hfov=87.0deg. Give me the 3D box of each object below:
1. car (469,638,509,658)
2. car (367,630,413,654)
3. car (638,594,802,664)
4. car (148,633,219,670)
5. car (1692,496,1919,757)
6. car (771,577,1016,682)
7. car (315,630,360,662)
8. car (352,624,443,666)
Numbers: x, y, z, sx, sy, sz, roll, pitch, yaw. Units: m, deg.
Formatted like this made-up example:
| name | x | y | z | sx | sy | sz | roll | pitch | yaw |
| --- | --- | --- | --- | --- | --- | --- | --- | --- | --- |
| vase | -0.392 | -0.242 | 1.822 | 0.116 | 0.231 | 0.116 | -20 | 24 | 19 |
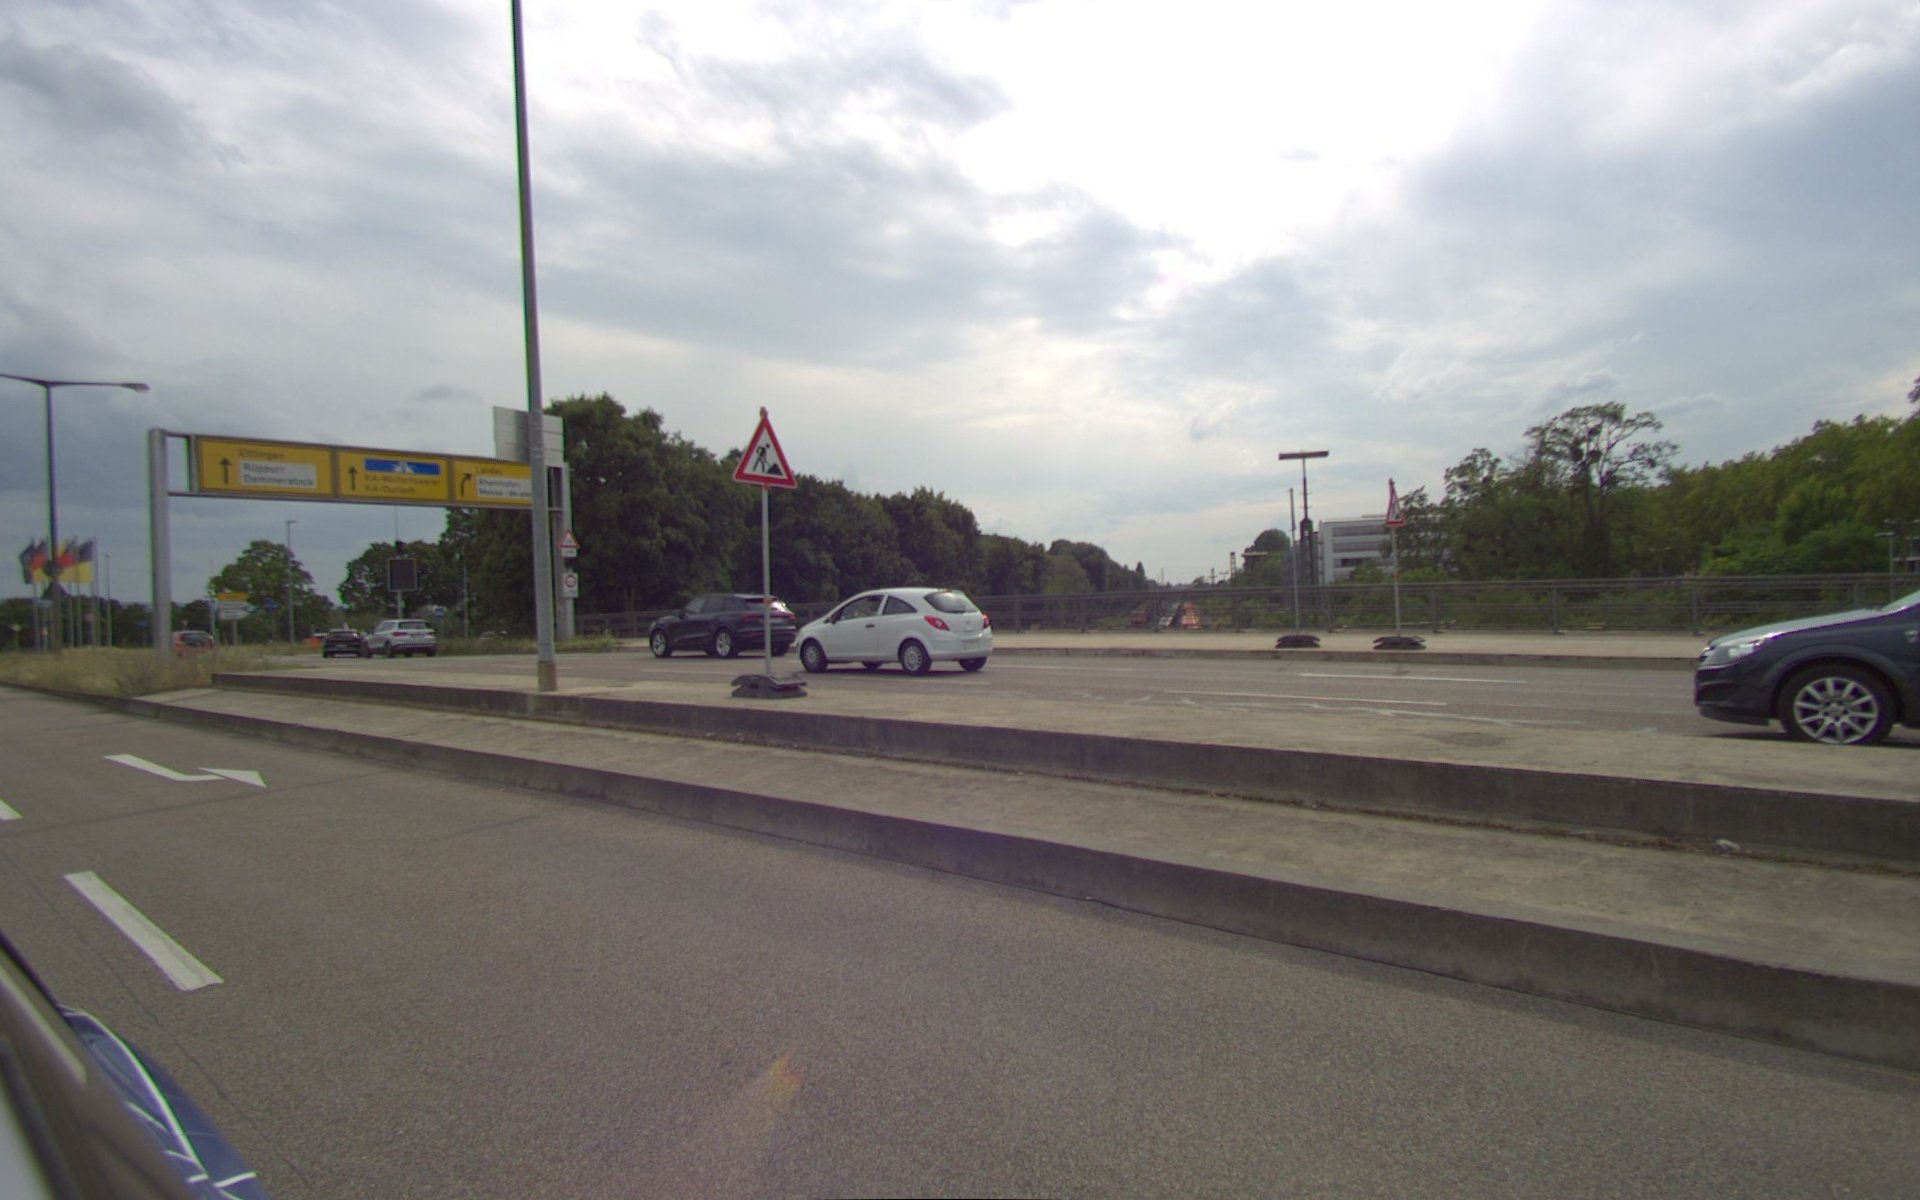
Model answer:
| name | x | y | z | sx | sy | sz | roll | pitch | yaw |
| --- | --- | --- | --- | --- | --- | --- | --- | --- | --- |
| car | -37.966 | 3.886 | 81.650 | 1.795 | 1.619 | 3.902 | 1 | -3 | -7 |
| car | -39.170 | 2.938 | 69.675 | 1.860 | 1.539 | 4.681 | 1 | -4 | -18 |
| car | -6.413 | 0.751 | 26.823 | 4.542 | 1.652 | 1.868 | -2 | 0 | 40 |
| car | -36.429 | 2.386 | 47.463 | 3.912 | 1.543 | 1.706 | -2 | 0 | 38 |
| car | 7.527 | 0.120 | 6.353 | 4.582 | 1.652 | 1.867 | -2 | 0 | 41 |
| car | -1.263 | 0.492 | 18.068 | 4.214 | 1.652 | 1.868 | -2 | 0 | 40 |
| car | -35.103 | 2.622 | 57.164 | 1.861 | 1.619 | 4.774 | -3 | -1 | -29 |
| car | -23.369 | 1.833 | 41.967 | 4.450 | 1.543 | 1.868 | -2 | 0 | 41 |
